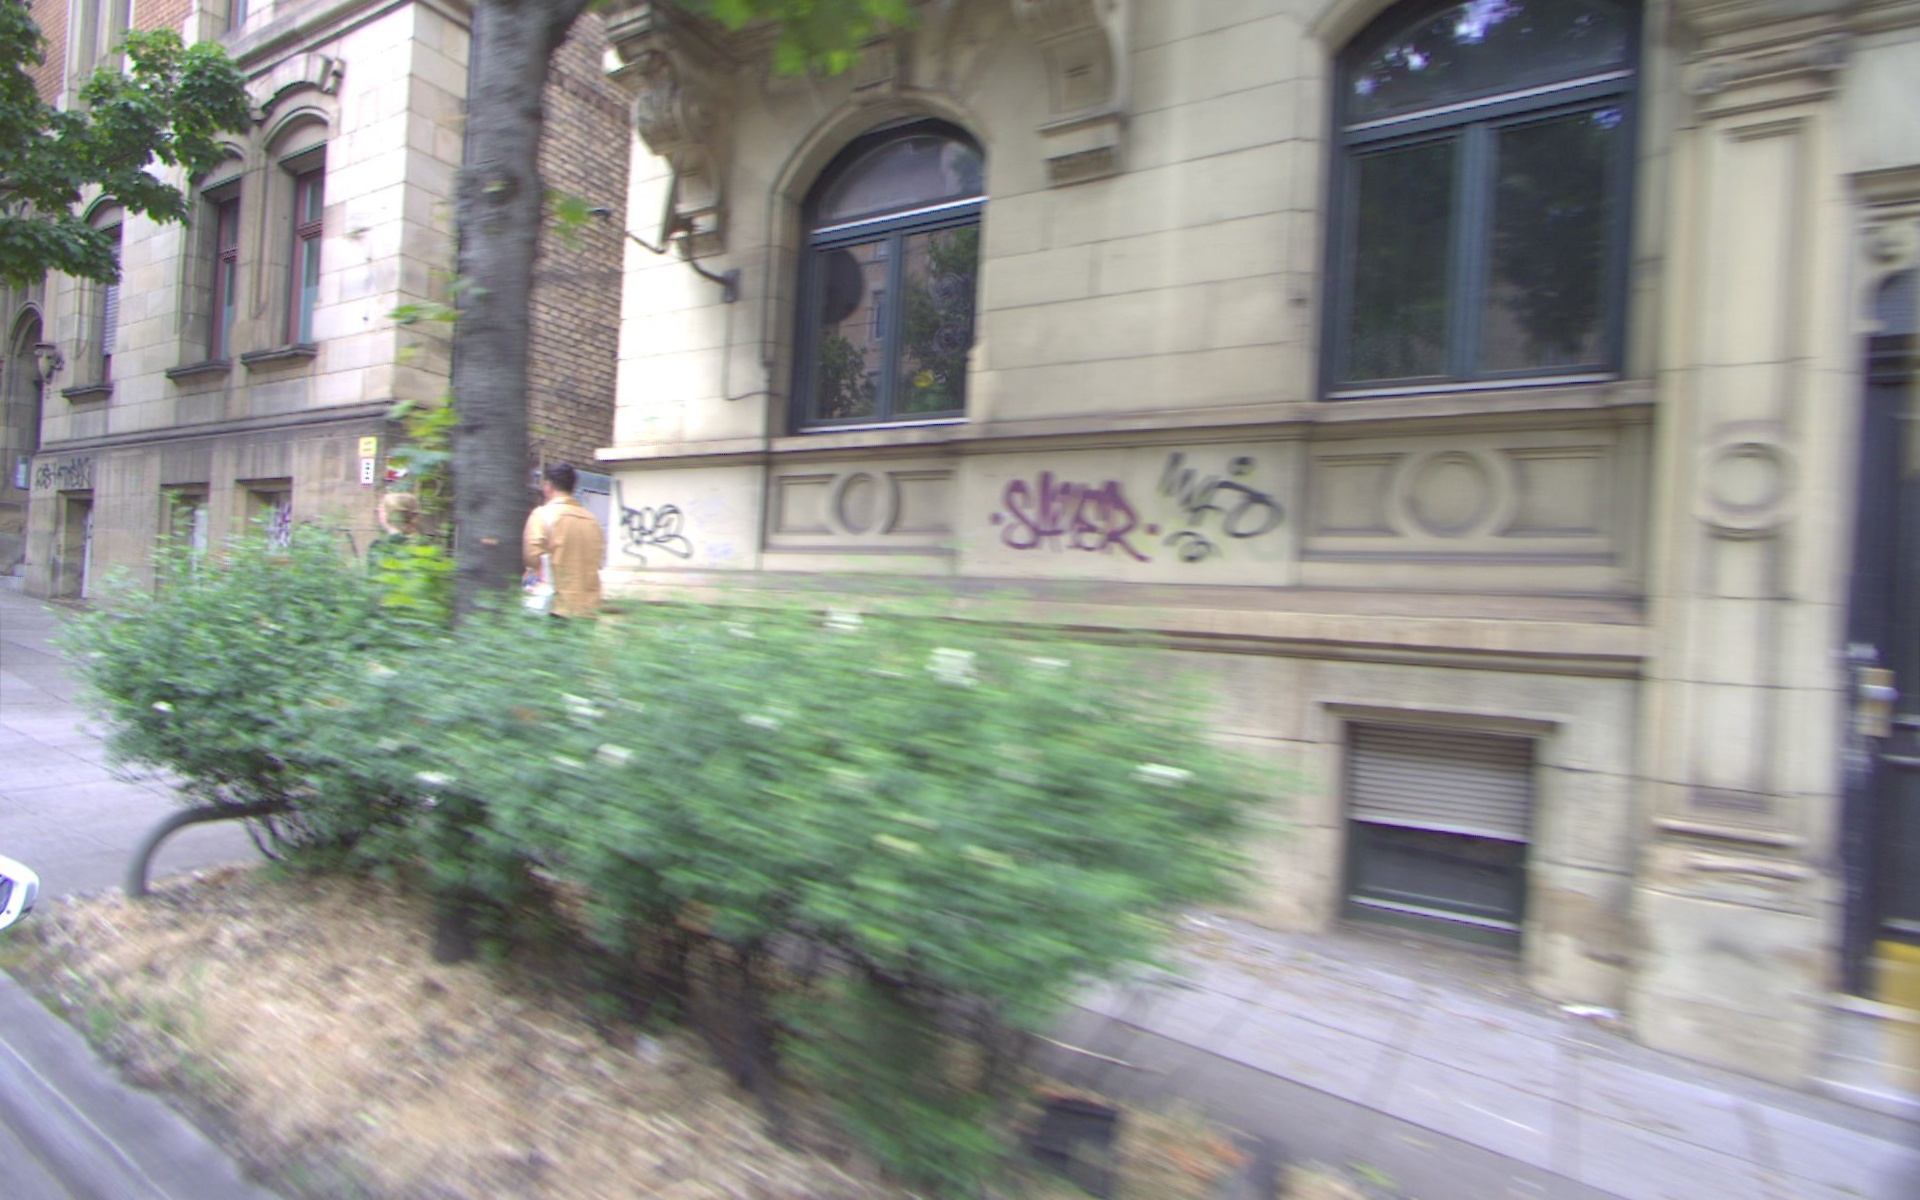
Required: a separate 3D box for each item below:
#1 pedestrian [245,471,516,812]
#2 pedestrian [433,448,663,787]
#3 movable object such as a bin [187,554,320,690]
[{"bbox_3d":[-3.048,0.176,5.285,1.196,1.594,0.686,4,1,31],"label":"pedestrian"},{"bbox_3d":[-2.490,0.082,6.077,1.103,1.853,0.686,4,1,31],"label":"pedestrian"},{"bbox_3d":[-5.928,0.179,8.450,0.572,1.030,0.671,9,4,29],"label":"movable object such as a bin"}]
